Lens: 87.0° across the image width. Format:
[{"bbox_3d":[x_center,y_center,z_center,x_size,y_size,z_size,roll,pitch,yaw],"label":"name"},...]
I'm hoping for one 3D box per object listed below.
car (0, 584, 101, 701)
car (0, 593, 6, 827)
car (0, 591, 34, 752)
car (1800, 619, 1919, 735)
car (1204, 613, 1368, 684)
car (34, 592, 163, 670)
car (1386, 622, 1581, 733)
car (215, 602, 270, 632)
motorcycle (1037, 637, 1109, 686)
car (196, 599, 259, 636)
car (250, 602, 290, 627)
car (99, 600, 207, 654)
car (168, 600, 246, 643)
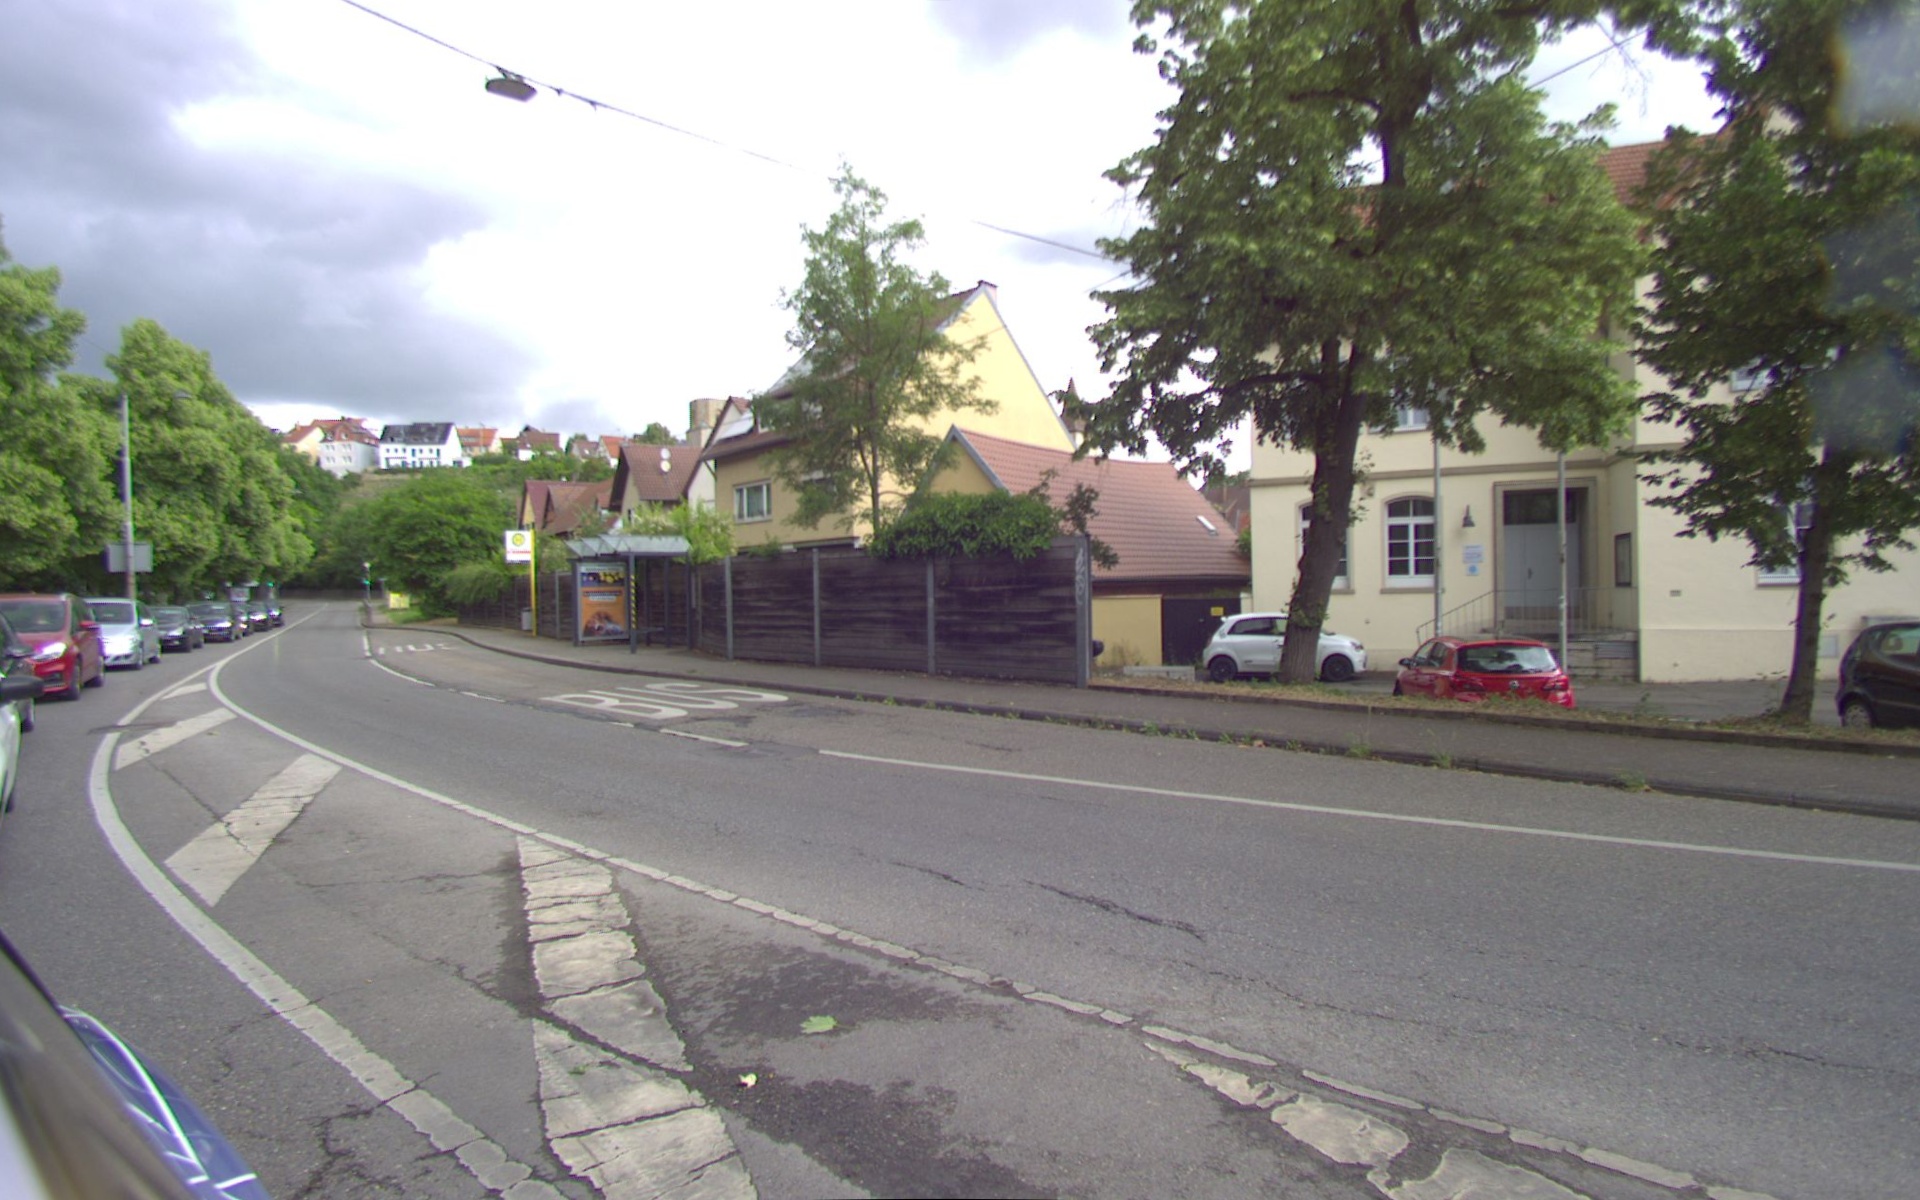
[{"bbox_3d":[-14.853,0.601,15.982,1.649,1.654,4.110,0,0,-36],"label":"car"},{"bbox_3d":[-6.653,0.721,5.837,1.604,1.519,4.005,0,0,-42],"label":"car"},{"bbox_3d":[-11.037,0.685,10.708,1.705,1.532,4.006,0,0,-41],"label":"car"},{"bbox_3d":[12.157,0.932,12.188,1.465,1.320,3.393,0,0,6],"label":"car"},{"bbox_3d":[7.461,1.065,23.270,3.455,1.503,1.643,0,0,20],"label":"car"},{"bbox_3d":[-19.308,0.628,22.839,1.754,1.580,4.011,0,0,-34],"label":"car"},{"bbox_3d":[7.689,1.062,15.223,1.582,1.363,3.618,0,0,10],"label":"car"},{"bbox_3d":[-32.818,0.752,46.342,1.617,1.278,3.637,0,0,-28],"label":"car"},{"bbox_3d":[2.139,1.141,19.080,1.559,0.830,0.419,0,0,-42],"label":"motorcycle"},{"bbox_3d":[-30.439,0.691,42.148,1.679,1.457,3.879,0,0,-29],"label":"car"},{"bbox_3d":[-36.035,0.732,52.891,1.396,1.259,3.306,0,0,-28],"label":"car"},{"bbox_3d":[-23.948,0.744,30.196,1.823,1.468,4.013,0,0,-28],"label":"car"},{"bbox_3d":[-26.958,0.728,36.353,1.669,1.422,3.995,0,0,-28],"label":"car"}]
